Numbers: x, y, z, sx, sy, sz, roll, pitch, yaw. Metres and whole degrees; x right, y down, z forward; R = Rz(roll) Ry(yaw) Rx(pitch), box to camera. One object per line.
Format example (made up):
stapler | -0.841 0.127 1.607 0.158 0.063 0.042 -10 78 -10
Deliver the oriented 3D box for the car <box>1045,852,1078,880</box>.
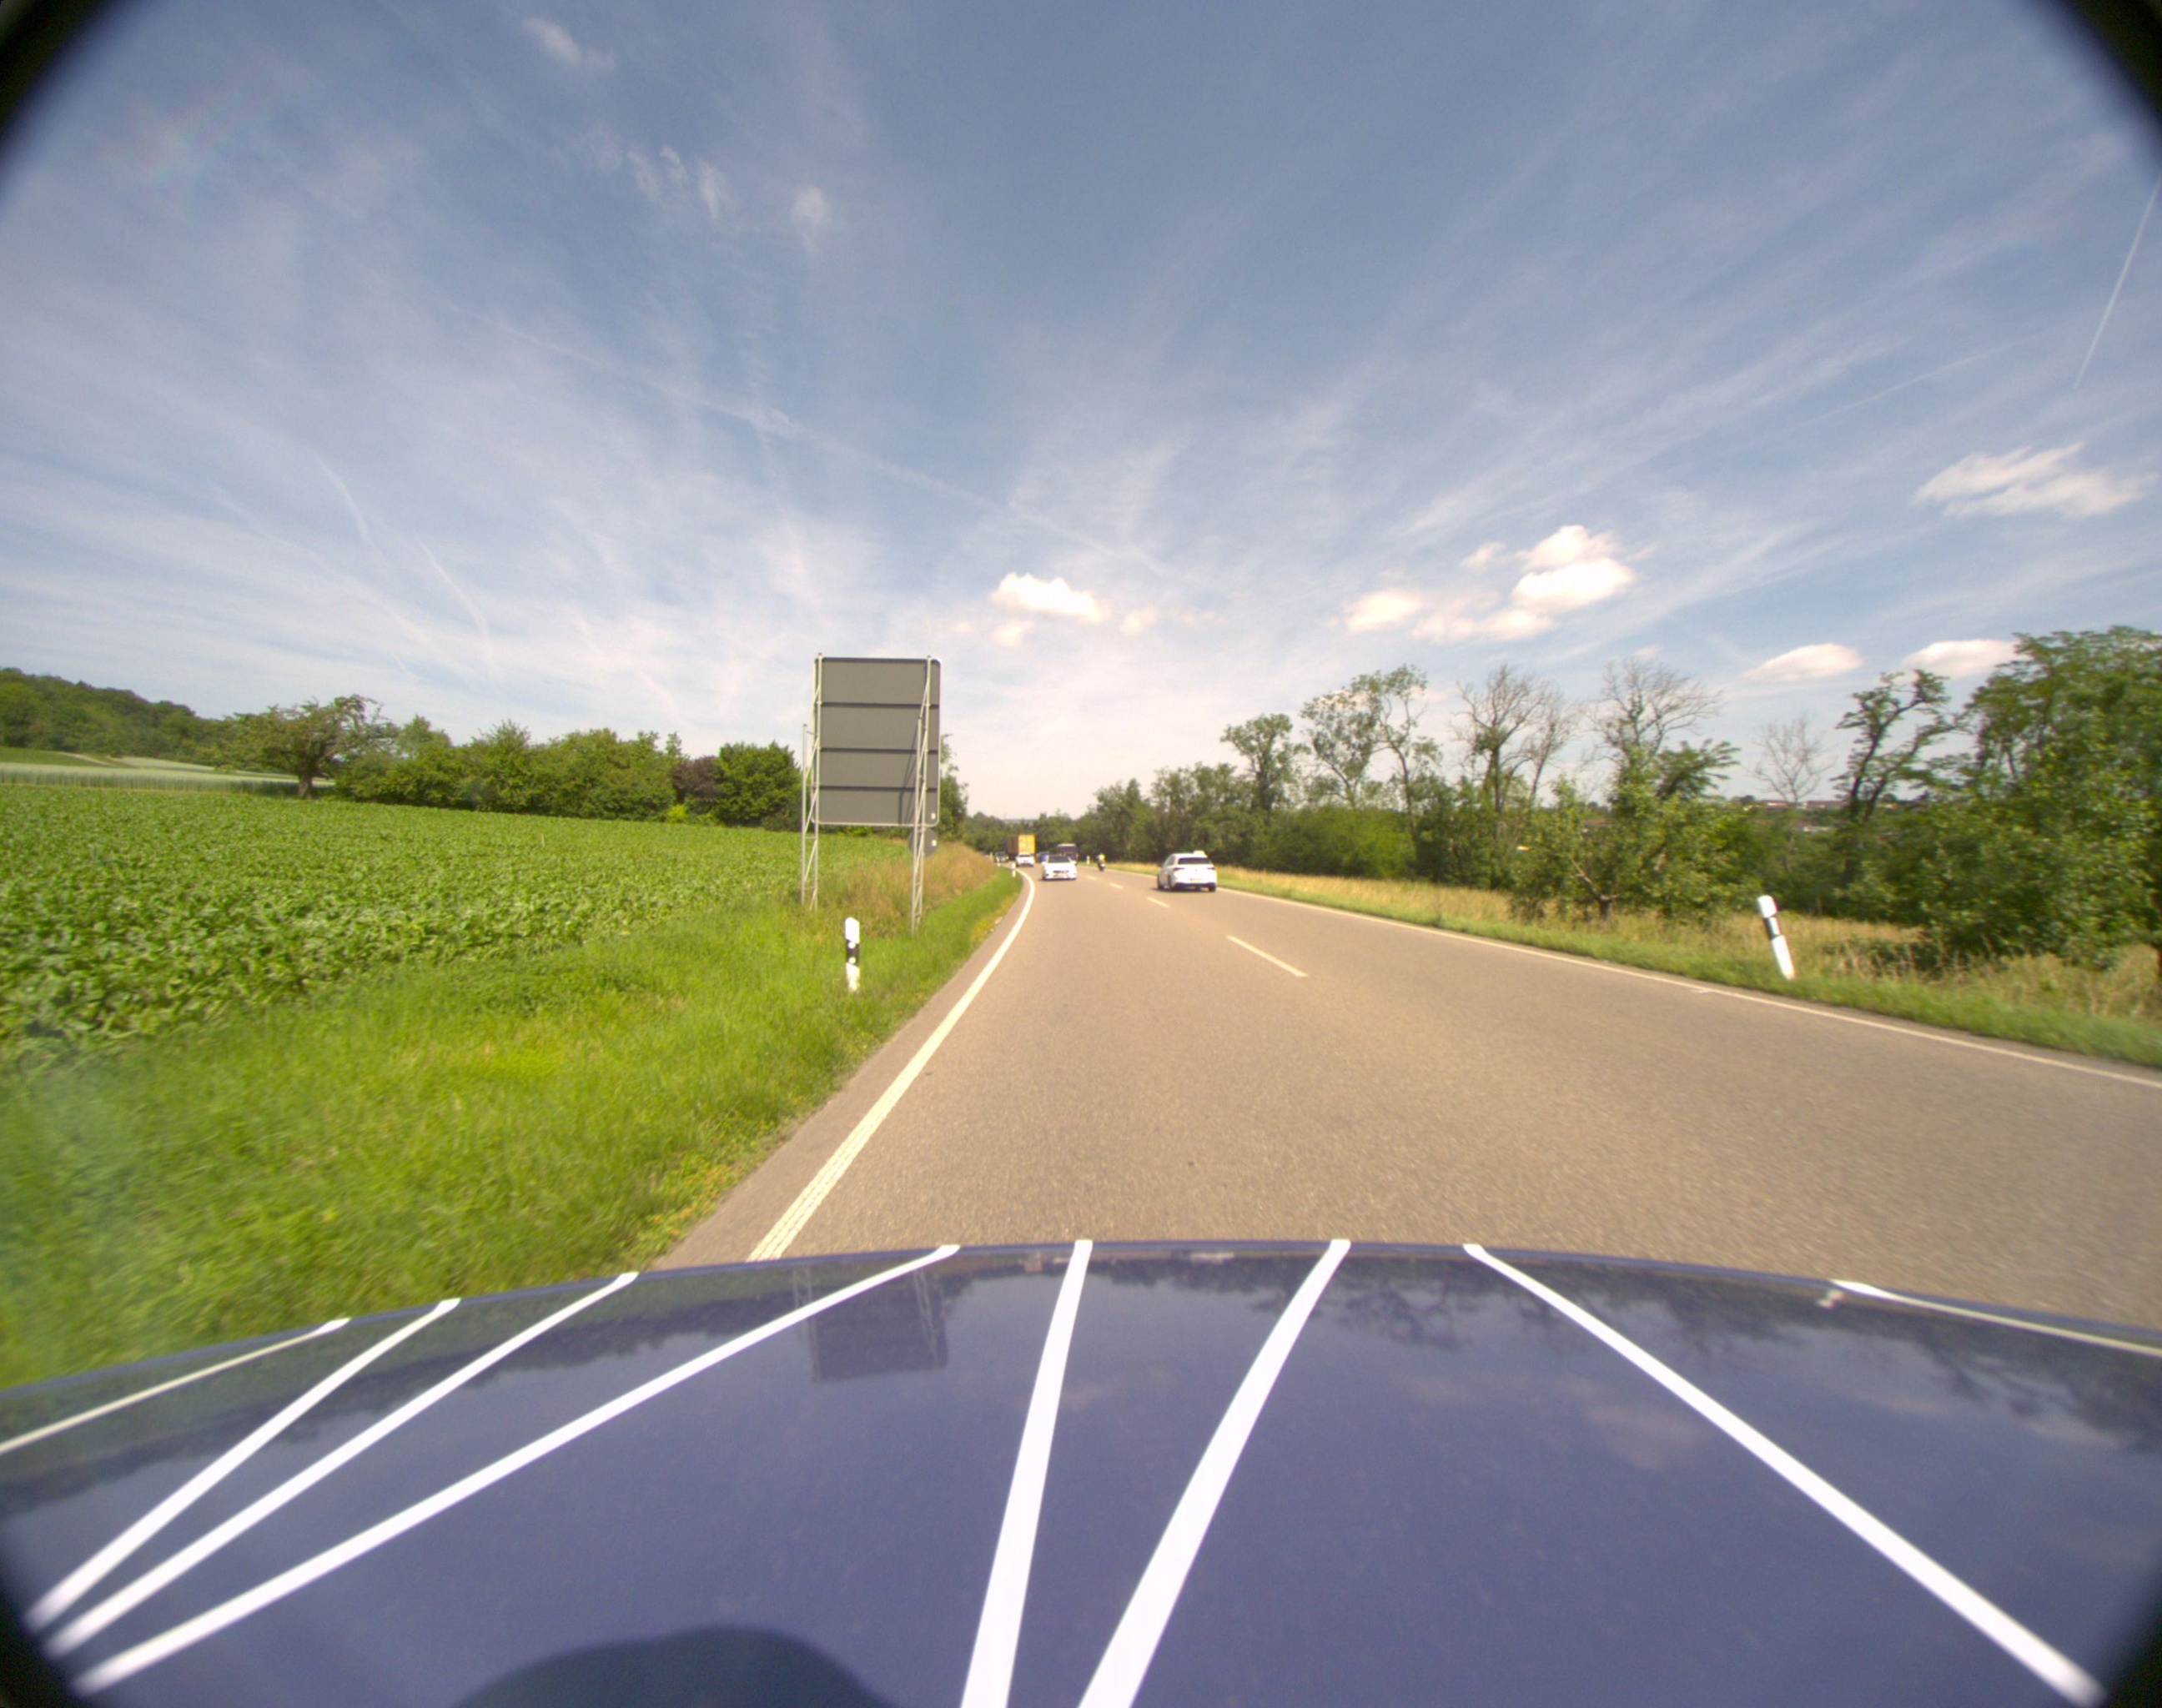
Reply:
car | -1.170 0.679 44.613 1.773 1.437 3.998 -2 1 -3

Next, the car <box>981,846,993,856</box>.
car | -16.274 -0.572 131.117 1.667 1.641 3.995 0 1 -12

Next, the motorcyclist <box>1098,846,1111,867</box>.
motorcyclist | 1.875 0.191 61.393 0.921 1.708 0.962 -1 1 -6

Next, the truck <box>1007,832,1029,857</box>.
truck | -10.641 -1.686 127.268 2.817 4.044 5.977 -1 1 -13

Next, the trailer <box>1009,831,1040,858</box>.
trailer | -9.002 -1.521 120.299 3.008 4.020 12.899 -1 1 -12

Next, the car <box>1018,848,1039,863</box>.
car | -5.689 0.168 82.089 1.867 1.480 3.996 -2 2 -9

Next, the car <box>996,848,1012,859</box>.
car | -11.120 -0.078 109.651 1.827 1.511 3.994 0 1 -13

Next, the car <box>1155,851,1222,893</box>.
car | 4.135 0.641 29.876 1.795 1.513 4.158 -1 0 -3

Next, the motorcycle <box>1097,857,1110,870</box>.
motorcycle | 1.820 0.729 61.376 0.759 0.988 2.278 -1 1 -5

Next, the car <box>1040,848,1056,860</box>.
car | -4.348 -0.048 100.361 1.869 1.477 4.356 -1 1 -6

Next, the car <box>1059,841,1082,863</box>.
car | -1.188 -0.217 83.997 2.177 2.290 4.904 -2 1 -5
